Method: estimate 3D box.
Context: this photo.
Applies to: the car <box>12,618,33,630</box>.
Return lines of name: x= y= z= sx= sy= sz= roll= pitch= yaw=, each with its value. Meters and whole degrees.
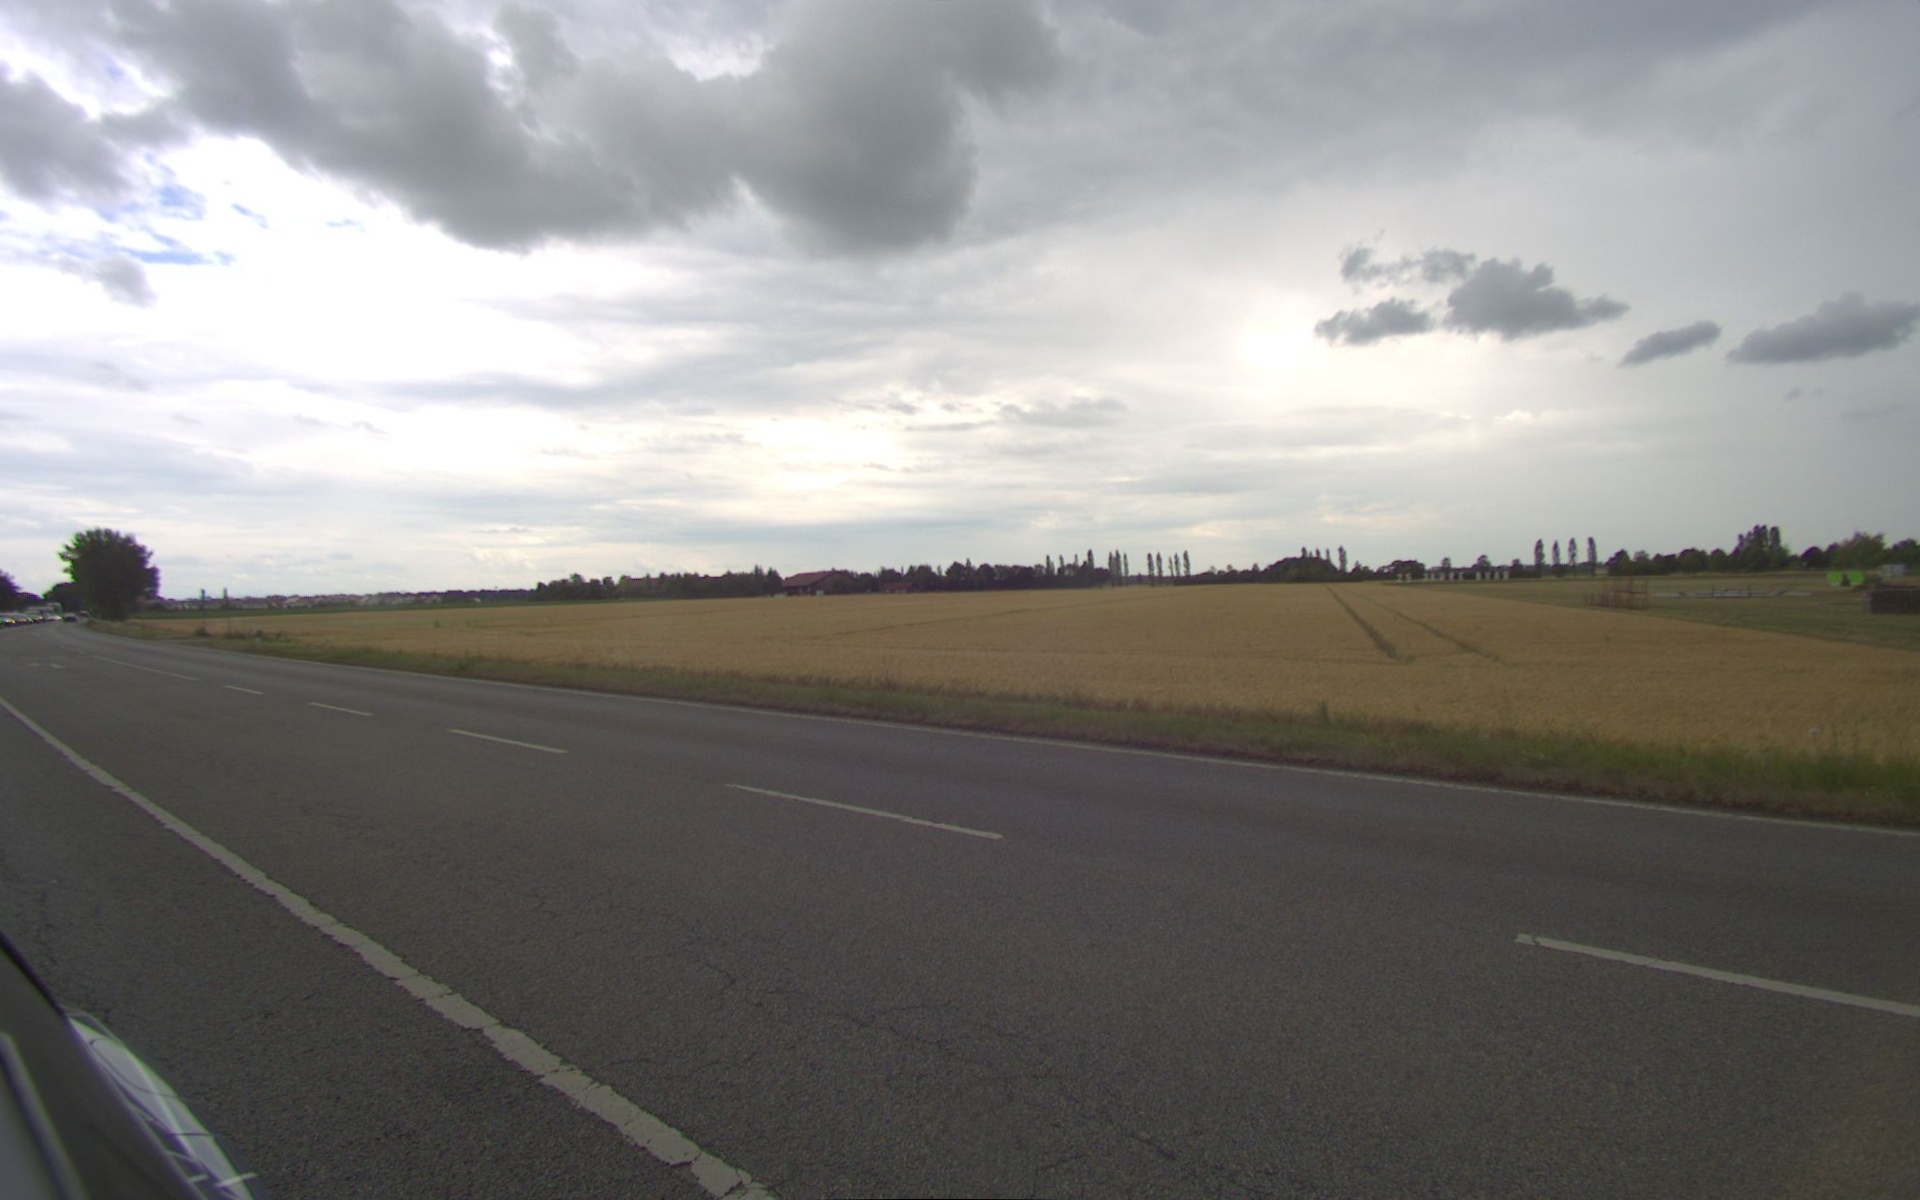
car: x=-132.268 y=3.352 z=142.839 sx=1.766 sy=1.595 sz=4.145 roll=-1 pitch=0 yaw=-38

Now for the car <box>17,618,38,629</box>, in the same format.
car: x=-137.236 y=3.459 z=148.984 sx=1.765 sy=1.595 sz=4.146 roll=-1 pitch=0 yaw=-36

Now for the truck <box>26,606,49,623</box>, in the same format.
truck: x=-158.733 y=2.550 z=174.128 sx=2.284 sy=2.786 sz=7.689 roll=-1 pitch=0 yaw=-38

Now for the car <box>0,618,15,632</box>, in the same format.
car: x=-114.142 y=3.007 z=120.647 sx=1.766 sy=1.595 sz=4.145 roll=-1 pitch=0 yaw=-38

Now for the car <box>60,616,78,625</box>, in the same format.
car: x=-144.102 y=3.347 z=163.675 sx=1.803 sy=1.421 sz=4.434 roll=-1 pitch=0 yaw=-37

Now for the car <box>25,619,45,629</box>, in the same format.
car: x=-141.911 y=3.704 z=155.311 sx=1.765 sy=1.551 sz=4.146 roll=-1 pitch=0 yaw=-36

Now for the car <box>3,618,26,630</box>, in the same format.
car: x=-124.854 y=3.178 z=133.625 sx=1.766 sy=1.595 sz=4.146 roll=-1 pitch=0 yaw=-37
